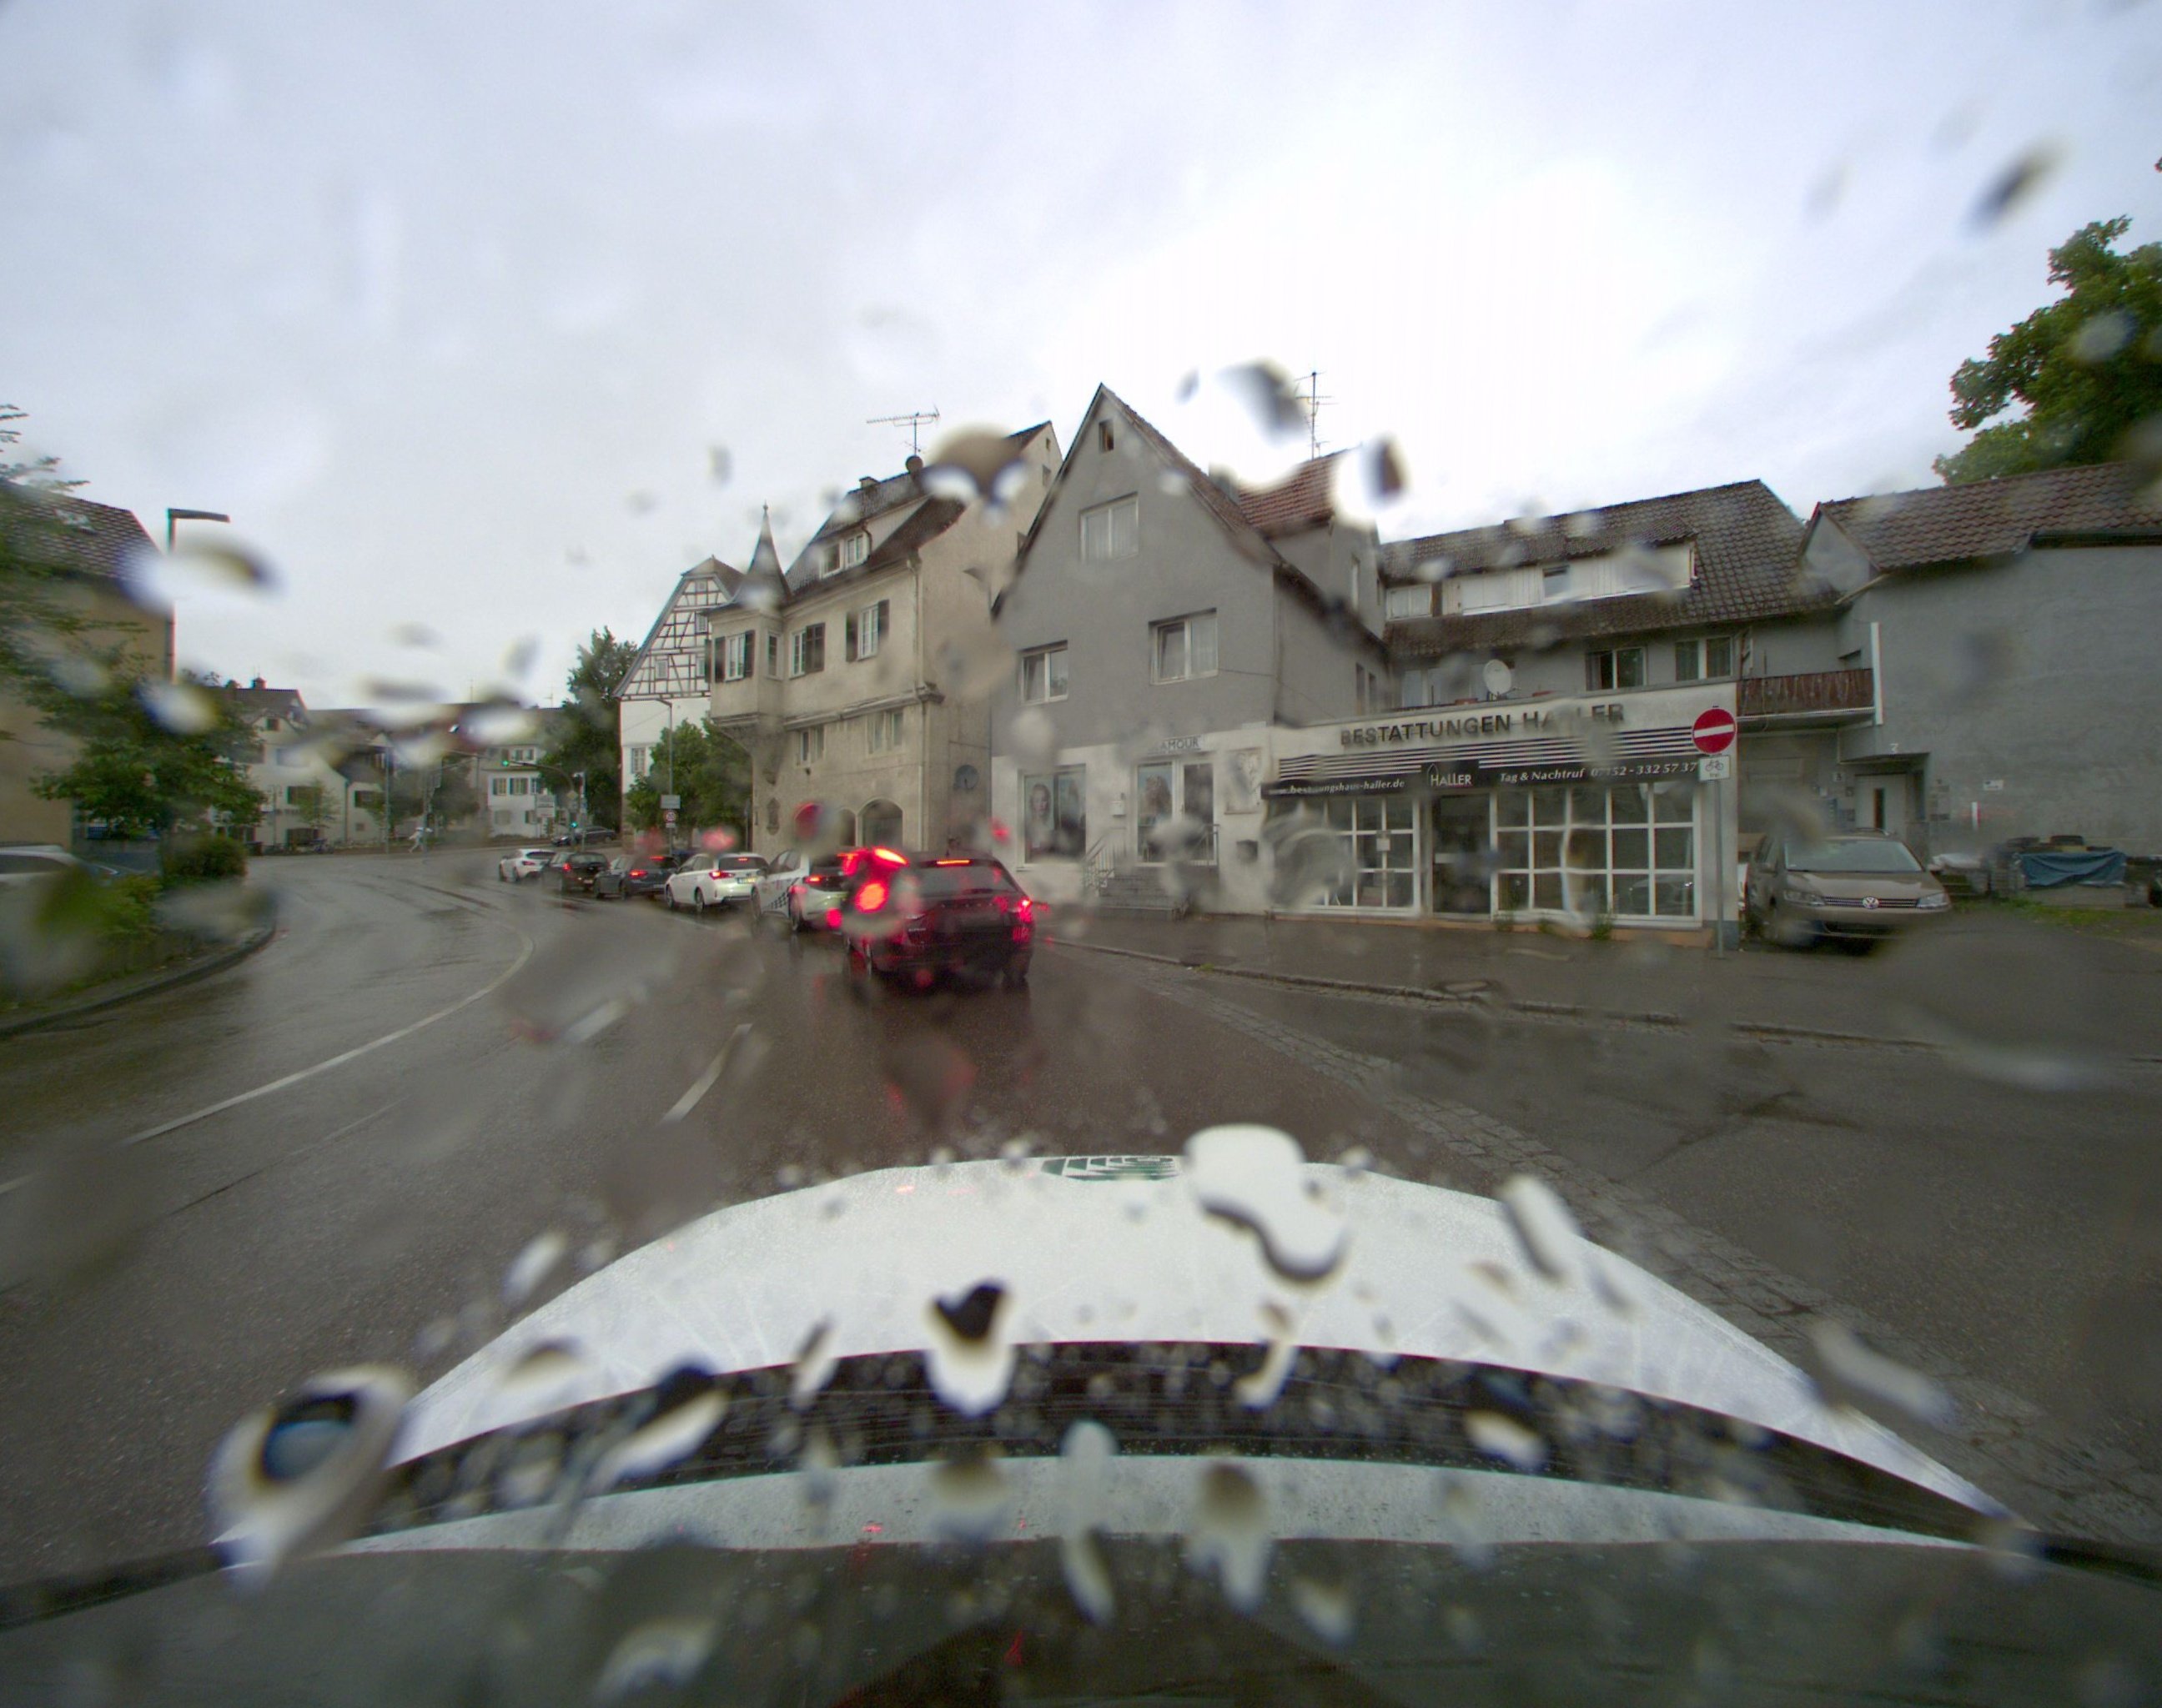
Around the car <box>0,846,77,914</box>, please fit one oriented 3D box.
[{"bbox_3d":[-26.197,0.623,18.725,1.692,1.576,3.558,0,1,24],"label":"car"}]

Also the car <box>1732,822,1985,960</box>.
[{"bbox_3d":[11.726,0.392,12.685,1.905,1.727,4.698,-1,2,32],"label":"car"}]

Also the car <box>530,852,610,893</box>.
[{"bbox_3d":[-18.919,0.637,30.099,3.579,1.312,1.678,1,2,44],"label":"car"}]

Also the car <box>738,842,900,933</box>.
[{"bbox_3d":[-5.291,0.576,16.104,1.803,1.517,4.194,-2,1,-36],"label":"car"}]

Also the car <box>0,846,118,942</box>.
[{"bbox_3d":[-20.127,0.726,14.455,1.692,1.685,3.558,0,1,24],"label":"car"}]

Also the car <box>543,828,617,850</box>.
[{"bbox_3d":[-37.542,-1.092,61.131,1.632,1.389,4.555,7,3,23],"label":"car"}]

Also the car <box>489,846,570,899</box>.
[{"bbox_3d":[-23.878,0.731,35.201,3.911,2.090,1.992,1,2,42],"label":"car"}]

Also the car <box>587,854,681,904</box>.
[{"bbox_3d":[-14.132,0.740,25.671,3.721,1.361,1.533,1,2,44],"label":"car"}]

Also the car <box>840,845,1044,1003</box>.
[{"bbox_3d":[-1.941,0.657,10.165,1.738,1.450,4.212,-2,2,-21],"label":"car"}]

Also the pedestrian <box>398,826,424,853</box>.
[{"bbox_3d":[-45.123,-0.974,54.848,0.992,1.742,1.157,-1,0,37],"label":"pedestrian"}]

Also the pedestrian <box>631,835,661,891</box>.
[{"bbox_3d":[-18.483,0.382,34.574,0.872,2.326,1.216,-1,0,-40],"label":"pedestrian"}]

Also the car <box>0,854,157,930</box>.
[{"bbox_3d":[-22.056,0.770,16.819,1.692,1.455,3.558,0,1,24],"label":"car"}]

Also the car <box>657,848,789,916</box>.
[{"bbox_3d":[-9.116,0.625,20.582,1.801,1.465,4.114,-3,2,-42],"label":"car"}]
